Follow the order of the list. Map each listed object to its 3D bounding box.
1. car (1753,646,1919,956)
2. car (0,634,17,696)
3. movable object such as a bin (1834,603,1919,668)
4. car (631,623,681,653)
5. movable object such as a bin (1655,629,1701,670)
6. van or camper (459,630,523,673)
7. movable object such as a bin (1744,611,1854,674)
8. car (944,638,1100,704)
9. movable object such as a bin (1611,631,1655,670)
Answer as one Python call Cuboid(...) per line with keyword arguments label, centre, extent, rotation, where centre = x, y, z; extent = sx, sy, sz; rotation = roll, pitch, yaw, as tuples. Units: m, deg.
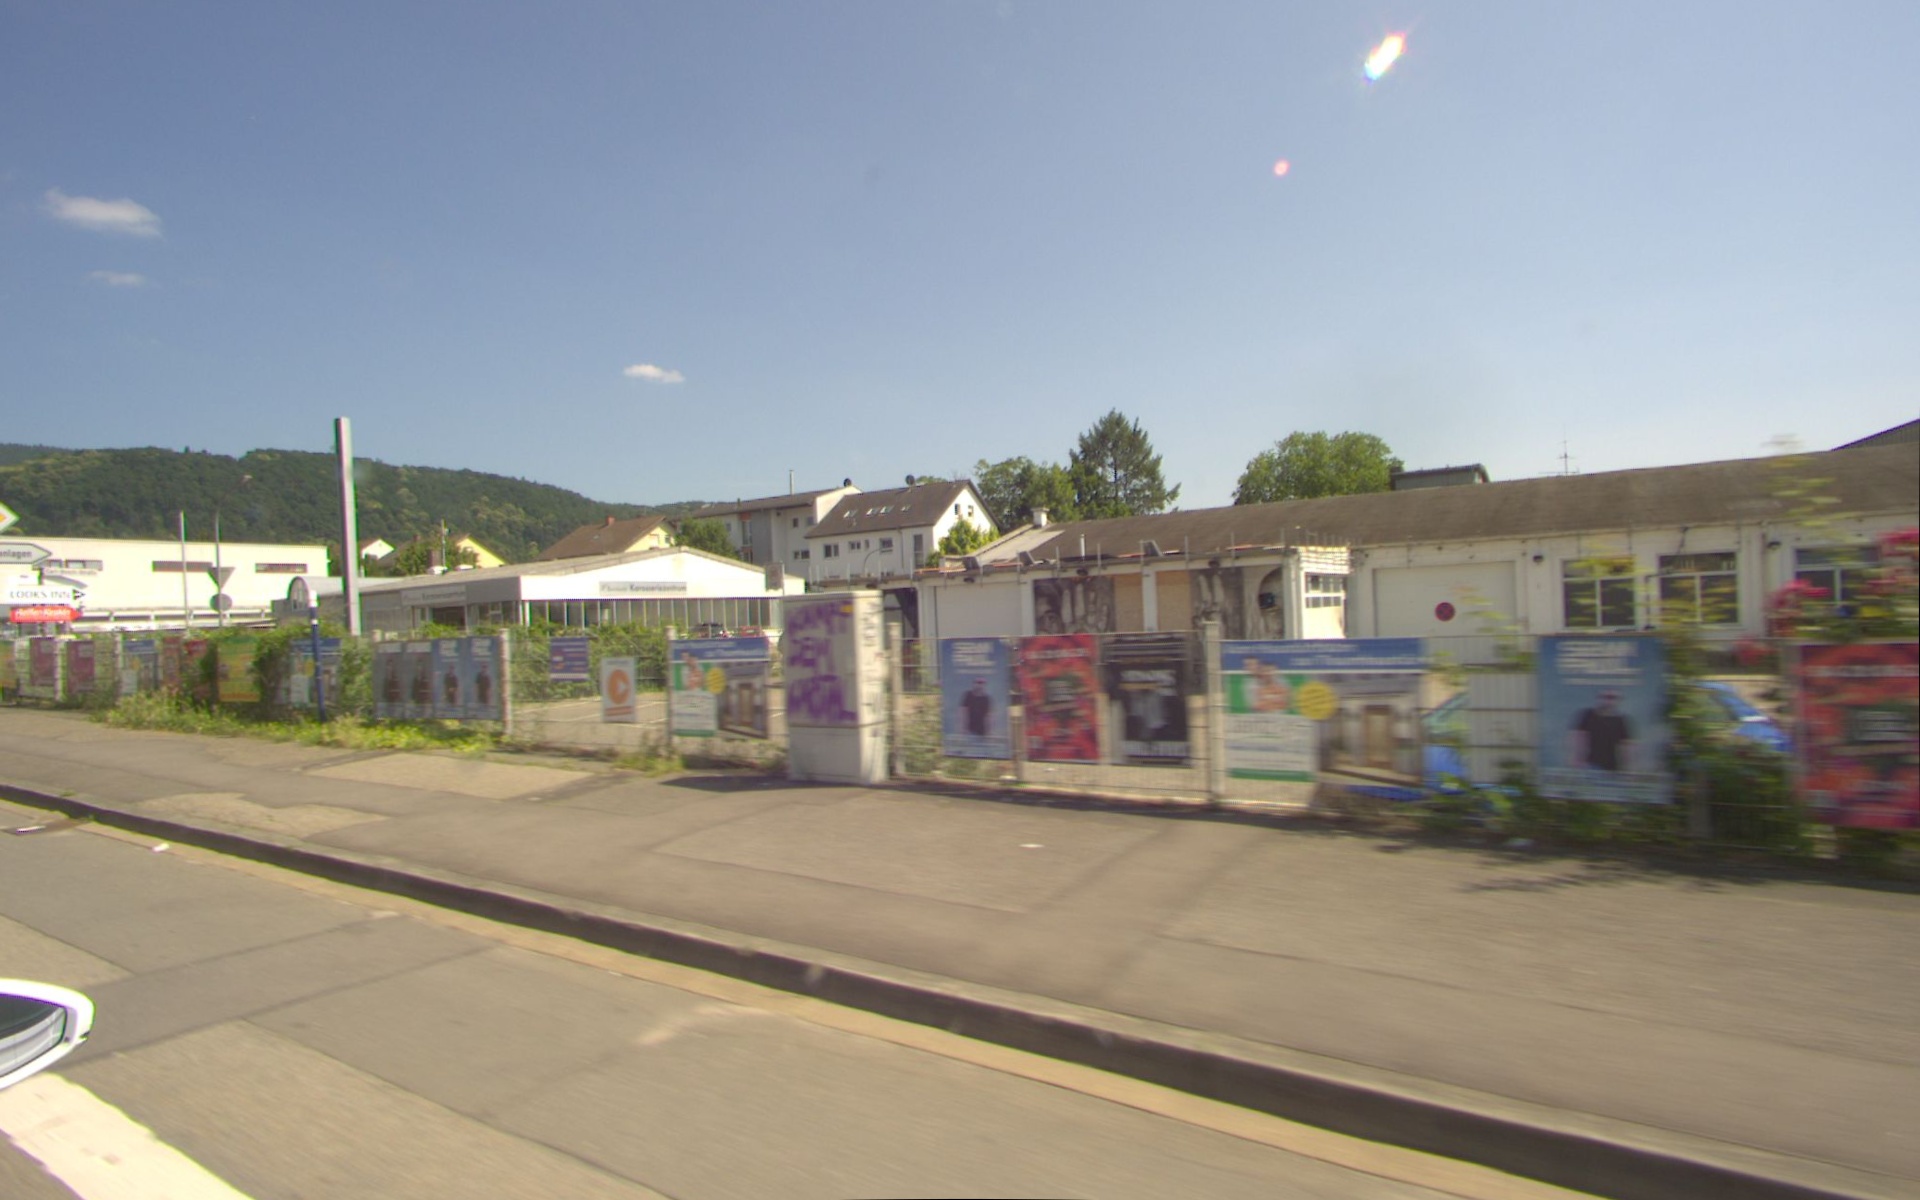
Cuboid(label="car", centre=(7.053, 1.113, 6.055), extent=(3.765, 1.637, 1.888), rotation=(-1, -1, -21))
Cuboid(label="car", centre=(-25.107, 1.607, 23.798), extent=(1.704, 1.504, 3.655), rotation=(-1, -1, 34))
Cuboid(label="movable object such as a bin", centre=(22.061, 0.833, 23.652), extent=(1.797, 1.474, 1.569), rotation=(-1, -1, 28))
Cuboid(label="car", centre=(-15.768, 1.973, 51.830), extent=(1.768, 1.482, 3.809), rotation=(1, -3, -29))
Cuboid(label="movable object such as a bin", centre=(18.778, 1.286, 26.213), extent=(0.863, 1.050, 0.745), rotation=(-1, 0, 28))
Cuboid(label="van or camper", centre=(-20.404, 2.227, 43.486), extent=(1.971, 1.563, 4.208), rotation=(-7, 1, -31))
Cuboid(label="movable object such as a bin", centre=(20.479, 1.020, 24.517), extent=(1.728, 1.474, 1.569), rotation=(-1, -1, 28))
Cuboid(label="car", centre=(1.658, 1.711, 25.311), extent=(2.090, 1.416, 4.319), rotation=(-1, -1, 33))
Cuboid(label="movable object such as a bin", centre=(17.936, 1.328, 26.703), extent=(0.863, 1.005, 0.745), rotation=(-1, 0, 28))
